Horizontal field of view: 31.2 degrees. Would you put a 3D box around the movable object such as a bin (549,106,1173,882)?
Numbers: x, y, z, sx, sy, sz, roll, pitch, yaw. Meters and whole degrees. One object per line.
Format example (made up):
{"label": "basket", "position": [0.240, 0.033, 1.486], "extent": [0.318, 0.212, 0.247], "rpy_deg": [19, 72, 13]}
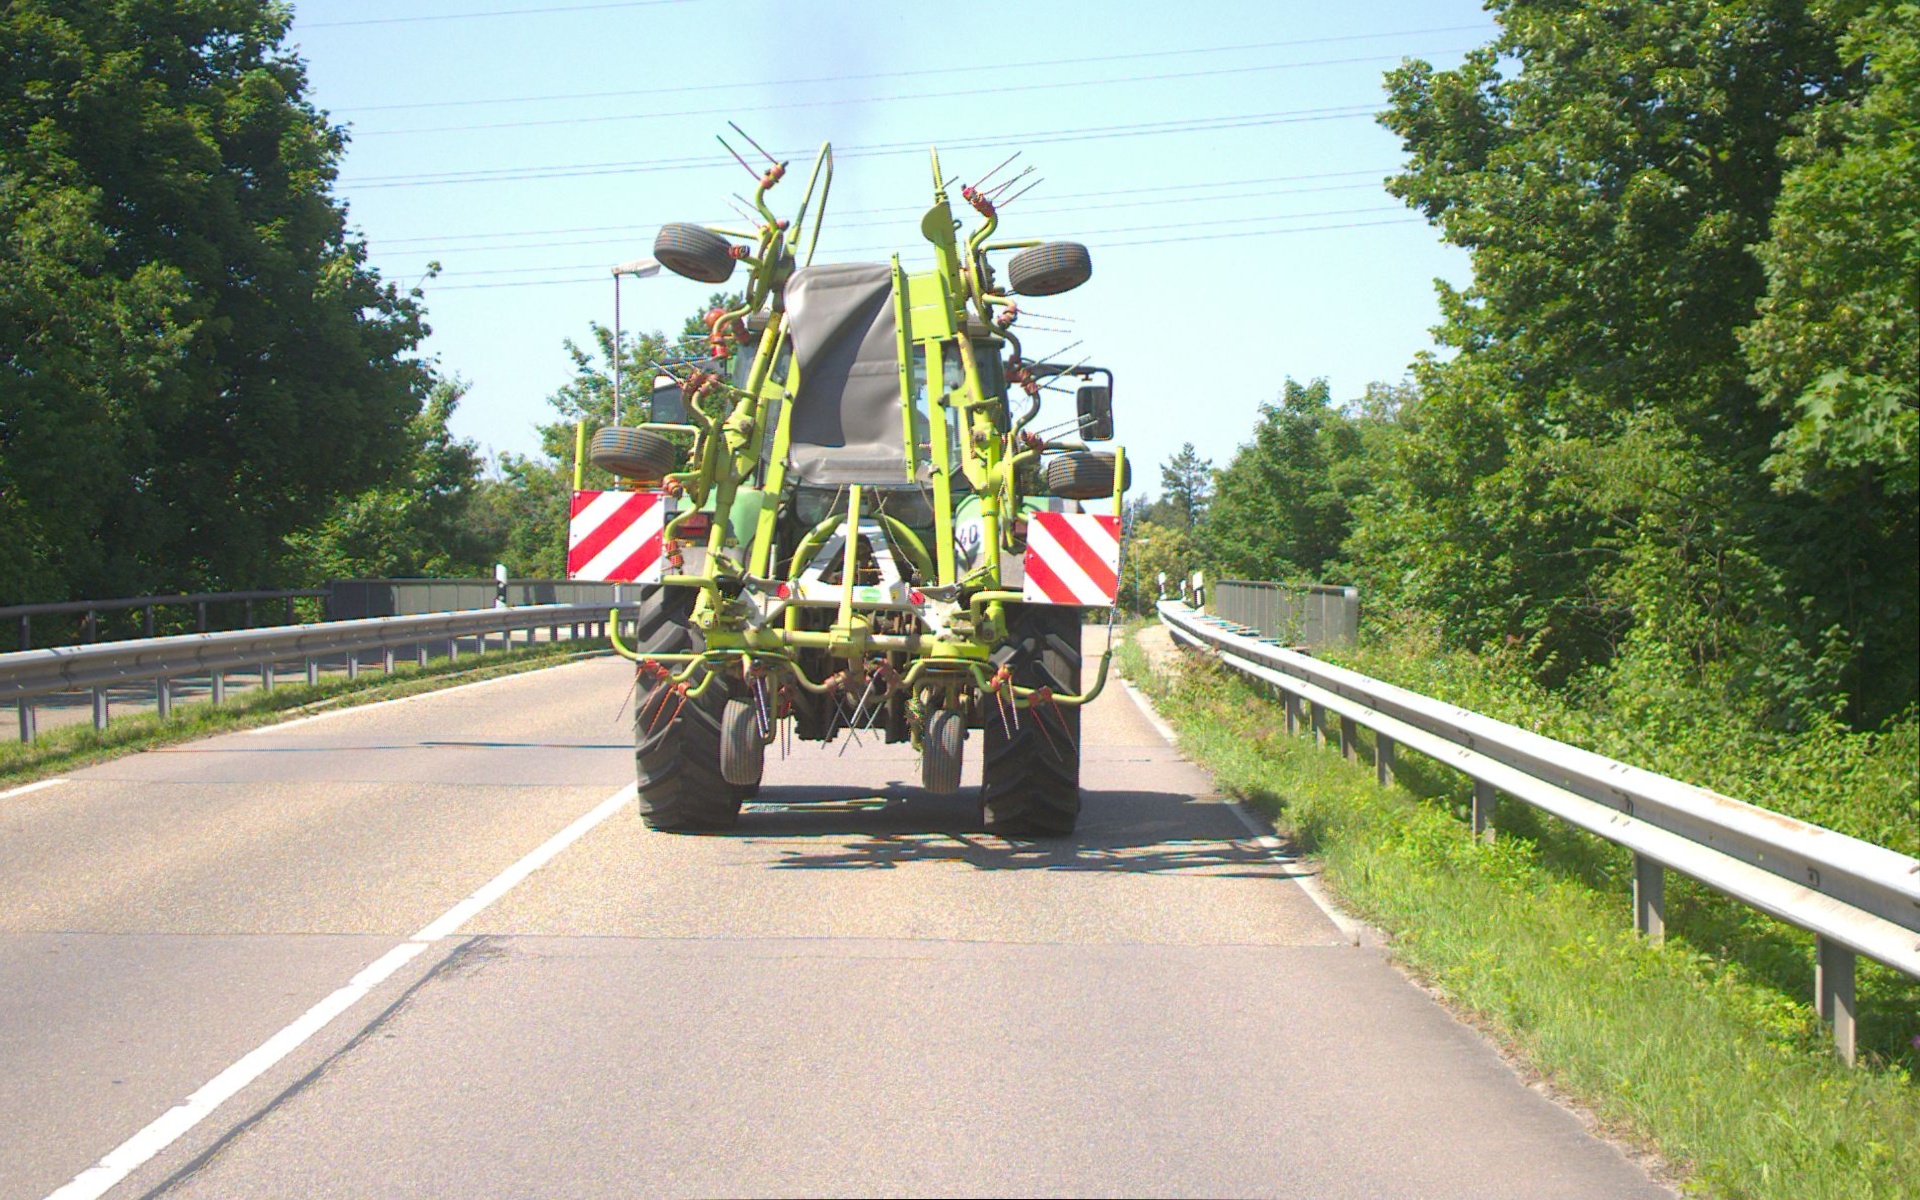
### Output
{"label": "movable object such as a bin", "position": [-0.476, -0.515, 18.134], "extent": [2.755, 3.432, 5.670], "rpy_deg": [0, 1, -1]}
